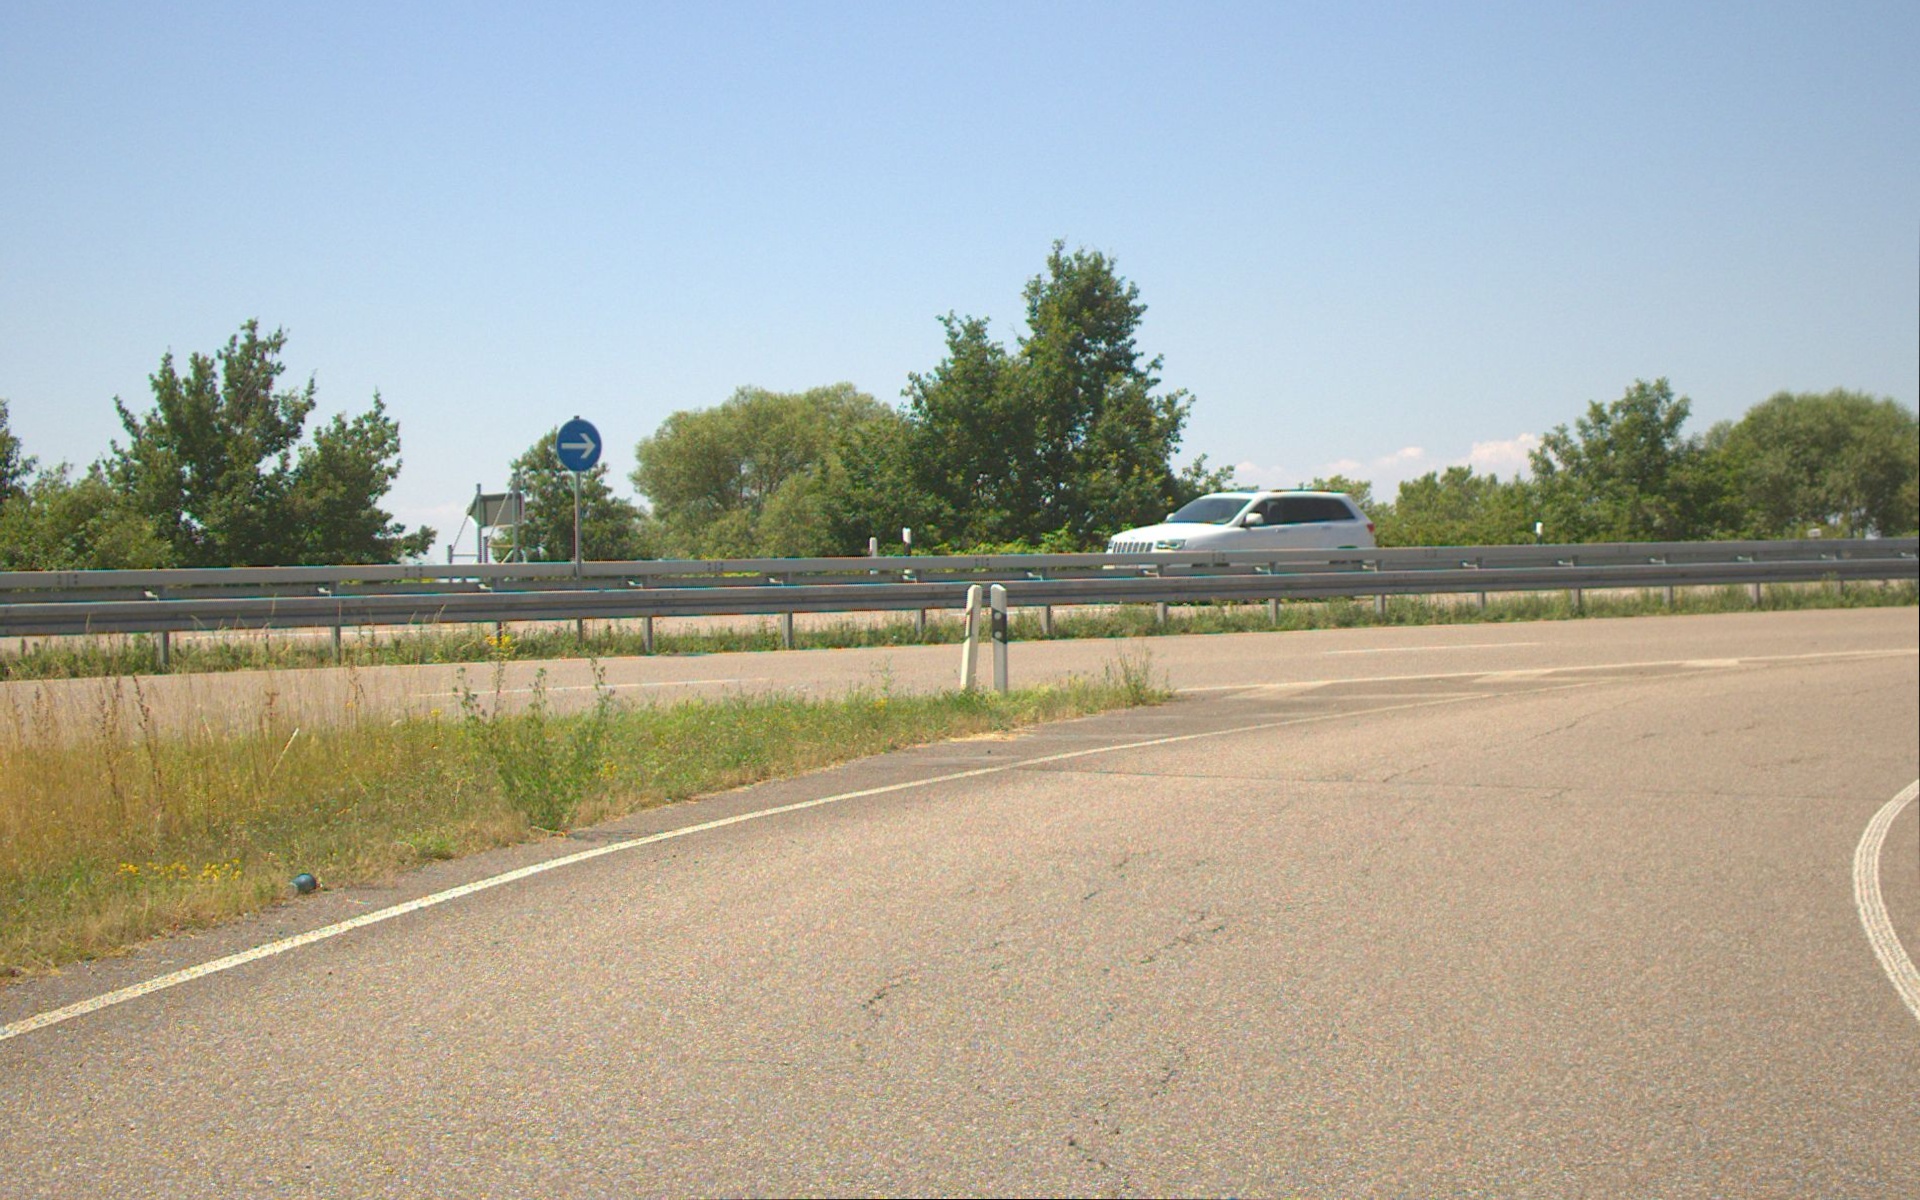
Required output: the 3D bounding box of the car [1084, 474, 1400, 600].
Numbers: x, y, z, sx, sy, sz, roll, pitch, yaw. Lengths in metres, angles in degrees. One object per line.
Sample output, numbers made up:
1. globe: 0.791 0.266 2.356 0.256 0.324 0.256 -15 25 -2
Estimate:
1. car: 4.490 -0.974 54.350 4.897 1.886 2.000 0 1 -37
